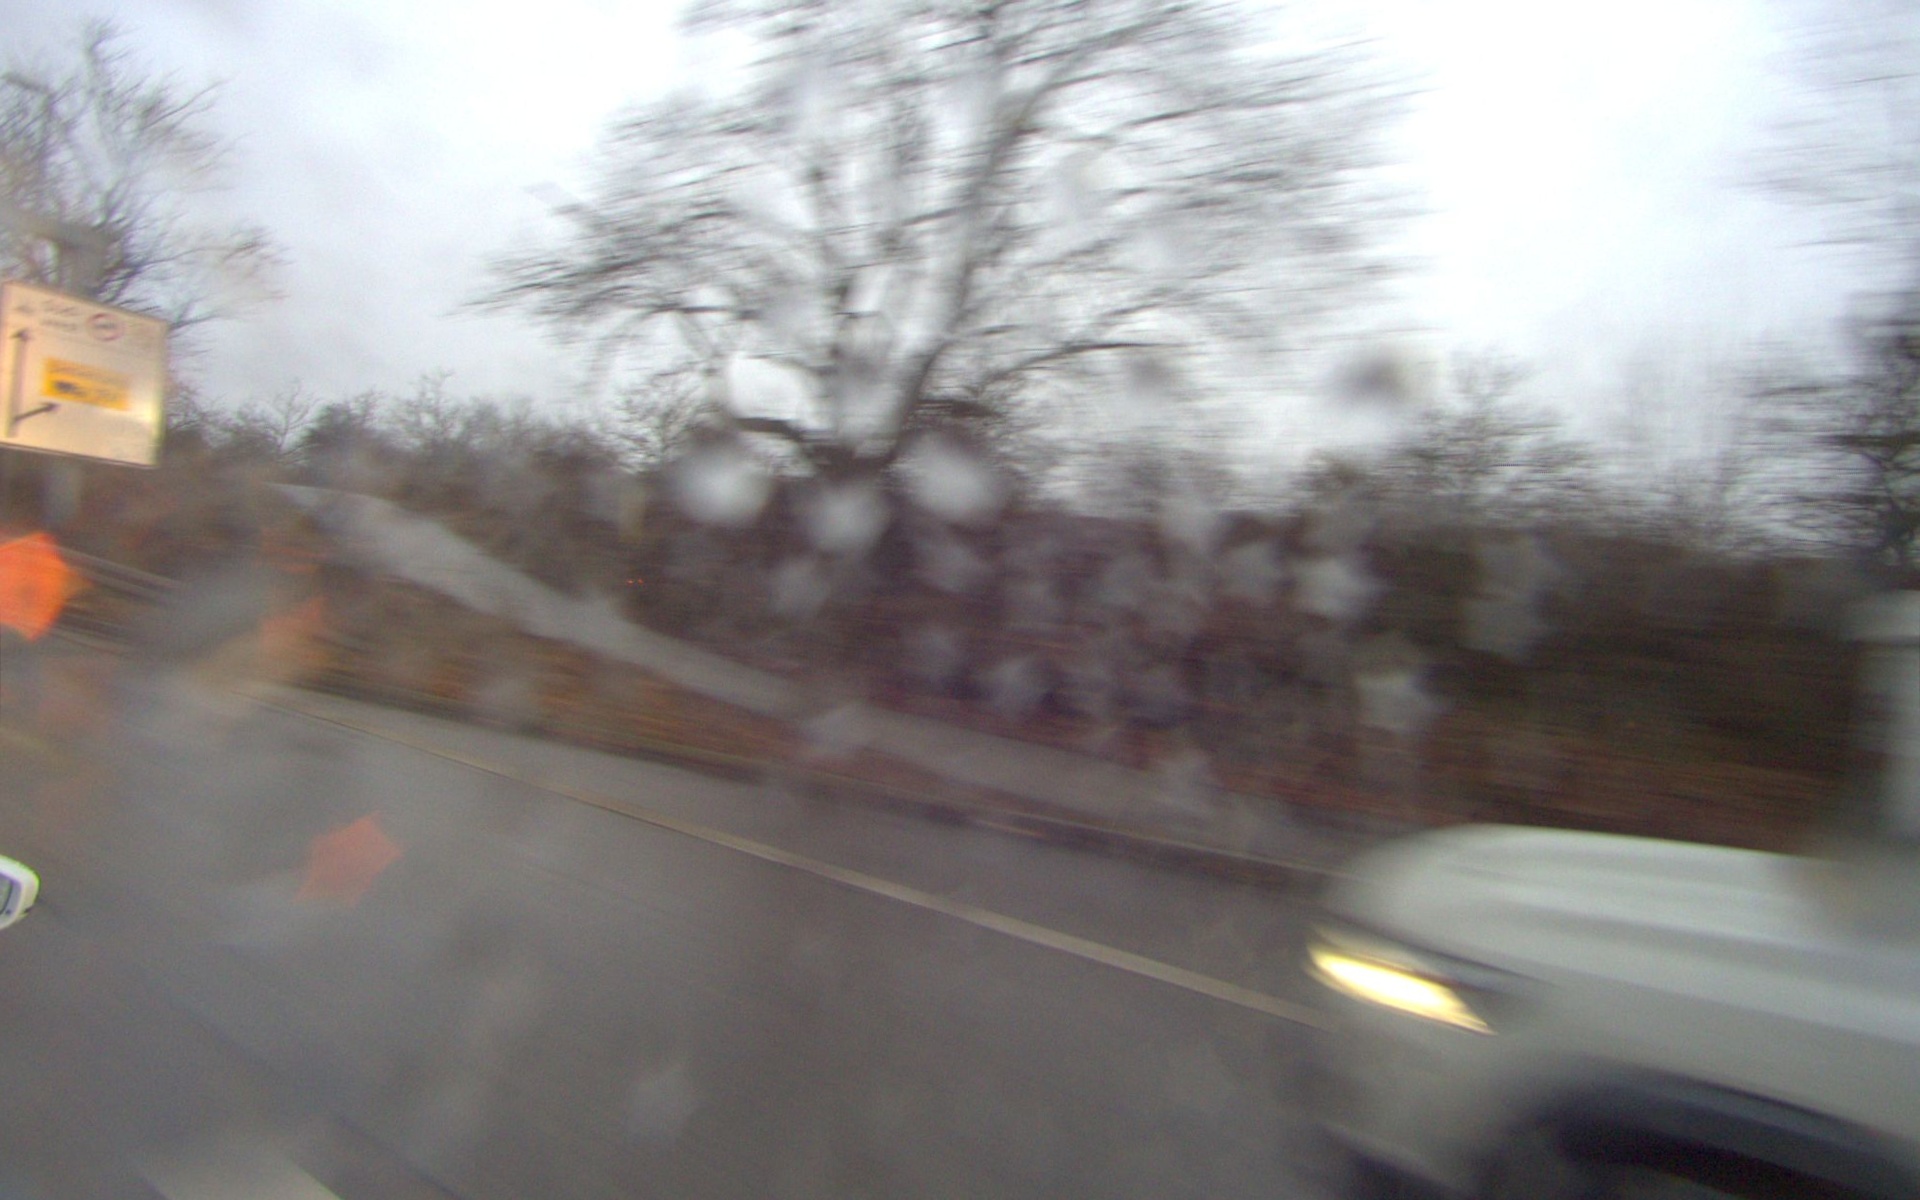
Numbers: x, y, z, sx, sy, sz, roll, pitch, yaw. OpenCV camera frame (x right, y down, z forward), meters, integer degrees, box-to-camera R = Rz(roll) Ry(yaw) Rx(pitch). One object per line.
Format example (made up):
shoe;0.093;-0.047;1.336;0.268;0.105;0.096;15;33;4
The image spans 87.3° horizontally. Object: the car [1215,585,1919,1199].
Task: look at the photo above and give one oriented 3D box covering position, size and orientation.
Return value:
car;2.904;1.049;1.817;4.337;1.638;1.818;6;0;31
